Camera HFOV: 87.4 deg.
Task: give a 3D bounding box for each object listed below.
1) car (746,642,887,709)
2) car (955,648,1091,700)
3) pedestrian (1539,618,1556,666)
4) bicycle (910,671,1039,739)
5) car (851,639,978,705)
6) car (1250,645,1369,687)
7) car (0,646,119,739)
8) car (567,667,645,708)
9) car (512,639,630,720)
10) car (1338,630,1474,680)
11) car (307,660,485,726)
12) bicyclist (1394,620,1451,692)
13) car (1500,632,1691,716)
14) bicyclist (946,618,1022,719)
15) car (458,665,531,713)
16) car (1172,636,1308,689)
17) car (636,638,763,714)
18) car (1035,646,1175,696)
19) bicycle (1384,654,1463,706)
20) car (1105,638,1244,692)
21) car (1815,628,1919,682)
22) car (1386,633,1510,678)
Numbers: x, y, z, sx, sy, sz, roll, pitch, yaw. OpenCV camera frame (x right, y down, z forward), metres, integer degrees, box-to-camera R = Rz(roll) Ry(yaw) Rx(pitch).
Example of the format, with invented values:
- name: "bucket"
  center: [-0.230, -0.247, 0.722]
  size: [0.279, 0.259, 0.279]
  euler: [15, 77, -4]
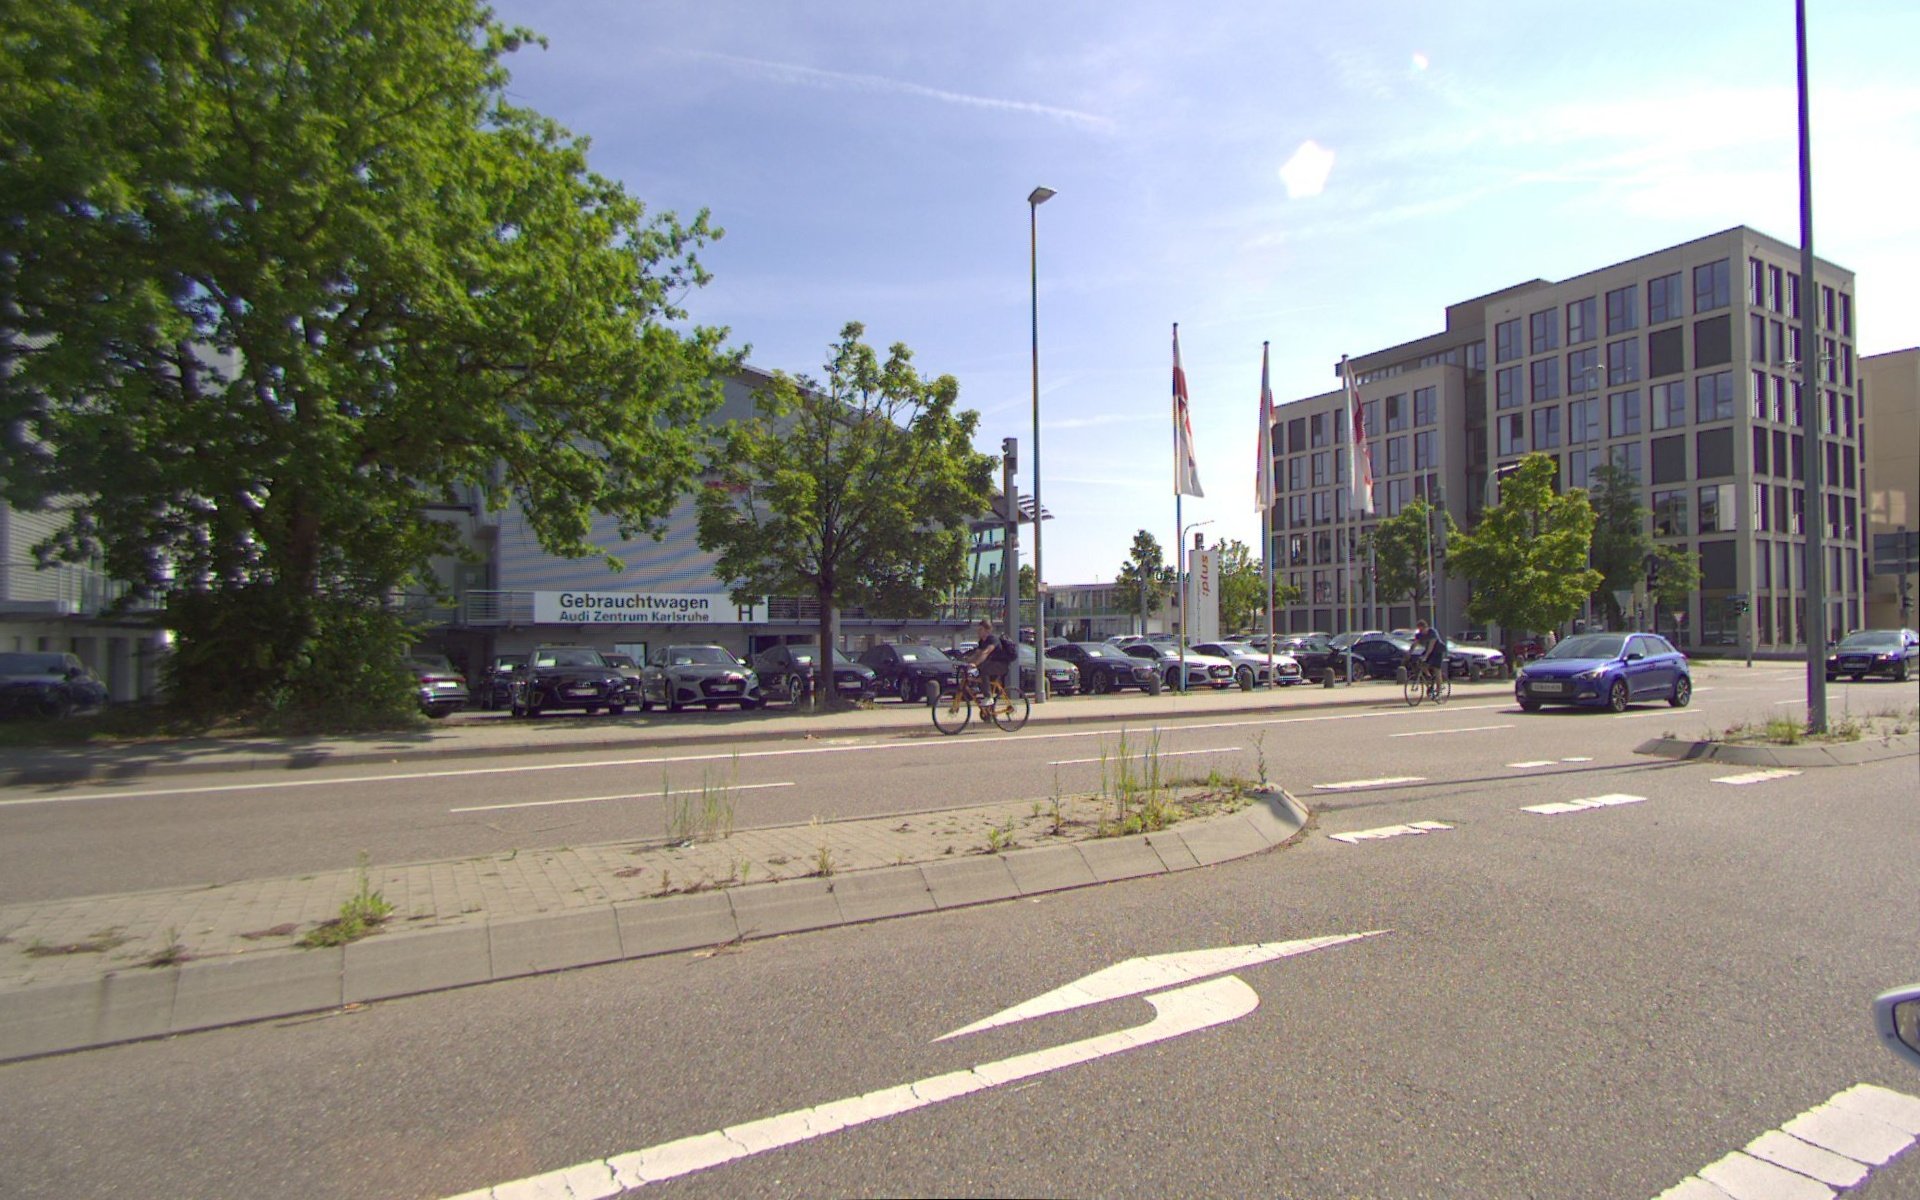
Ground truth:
- name: "car"
  center: [-3.390, 1.758, 22.998]
  size: [2.011, 1.348, 4.155]
  euler: [0, -5, -26]
- name: "car"
  center: [1.522, 1.929, 25.750]
  size: [1.771, 1.167, 3.864]
  euler: [0, -5, -26]
- name: "pedestrian"
  center: [25.074, 1.790, 42.879]
  size: [0.565, 2.040, 0.559]
  euler: [-1, -2, 27]
- name: "bicycle"
  center: [0.238, 1.624, 15.801]
  size: [1.950, 0.953, 0.677]
  euler: [1, -3, -30]
- name: "car"
  center: [-1.190, 1.772, 24.229]
  size: [1.638, 1.437, 3.864]
  euler: [0, -5, -26]
- name: "car"
  center: [11.412, 2.148, 32.789]
  size: [3.388, 1.189, 1.849]
  euler: [0, -5, -30]
- name: "car"
  center: [-15.684, 1.573, 16.596]
  size: [1.976, 1.376, 3.972]
  euler: [1, -6, -29]
- name: "car"
  center: [-10.952, 2.709, 30.922]
  size: [1.727, 1.115, 3.642]
  euler: [0, -5, -28]
- name: "car"
  center: [-7.978, 1.627, 20.374]
  size: [1.886, 1.437, 3.976]
  euler: [0, -5, -26]
- name: "car"
  center: [15.005, 1.901, 34.011]
  size: [1.844, 1.483, 3.861]
  euler: [0, -5, -28]
- name: "car"
  center: [-12.432, 2.060, 22.104]
  size: [3.929, 1.272, 1.588]
  euler: [-5, -5, 29]
- name: "bicyclist"
  center: [9.965, 1.192, 21.652]
  size: [1.016, 1.521, 0.627]
  euler: [1, -3, -31]
- name: "car"
  center: [12.273, 1.361, 19.348]
  size: [3.799, 1.376, 1.672]
  euler: [0, -1, -33]
- name: "bicyclist"
  center: [0.382, 1.067, 15.915]
  size: [1.024, 1.547, 0.616]
  euler: [1, -3, -30]
- name: "car"
  center: [-13.777, 2.640, 29.622]
  size: [1.727, 1.268, 3.642]
  euler: [0, -5, -28]
- name: "car"
  center: [8.209, 1.897, 29.807]
  size: [1.726, 1.382, 3.864]
  euler: [0, -5, -26]
- name: "car"
  center: [-5.649, 1.649, 21.462]
  size: [1.886, 1.437, 3.864]
  euler: [0, -5, -26]
- name: "car"
  center: [3.817, 1.937, 27.125]
  size: [1.886, 1.181, 3.864]
  euler: [0, -5, -26]
- name: "bicycle"
  center: [9.999, 1.712, 21.655]
  size: [1.854, 1.065, 0.582]
  euler: [1, -3, -31]
- name: "car"
  center: [6.021, 1.882, 28.612]
  size: [1.824, 1.350, 3.864]
  euler: [0, -5, -26]
- name: "car"
  center: [26.348, 1.533, 28.841]
  size: [4.332, 1.428, 1.567]
  euler: [1, -2, -33]
- name: "car"
  center: [17.008, 1.973, 35.149]
  size: [1.620, 1.375, 3.580]
  euler: [0, -5, -29]
